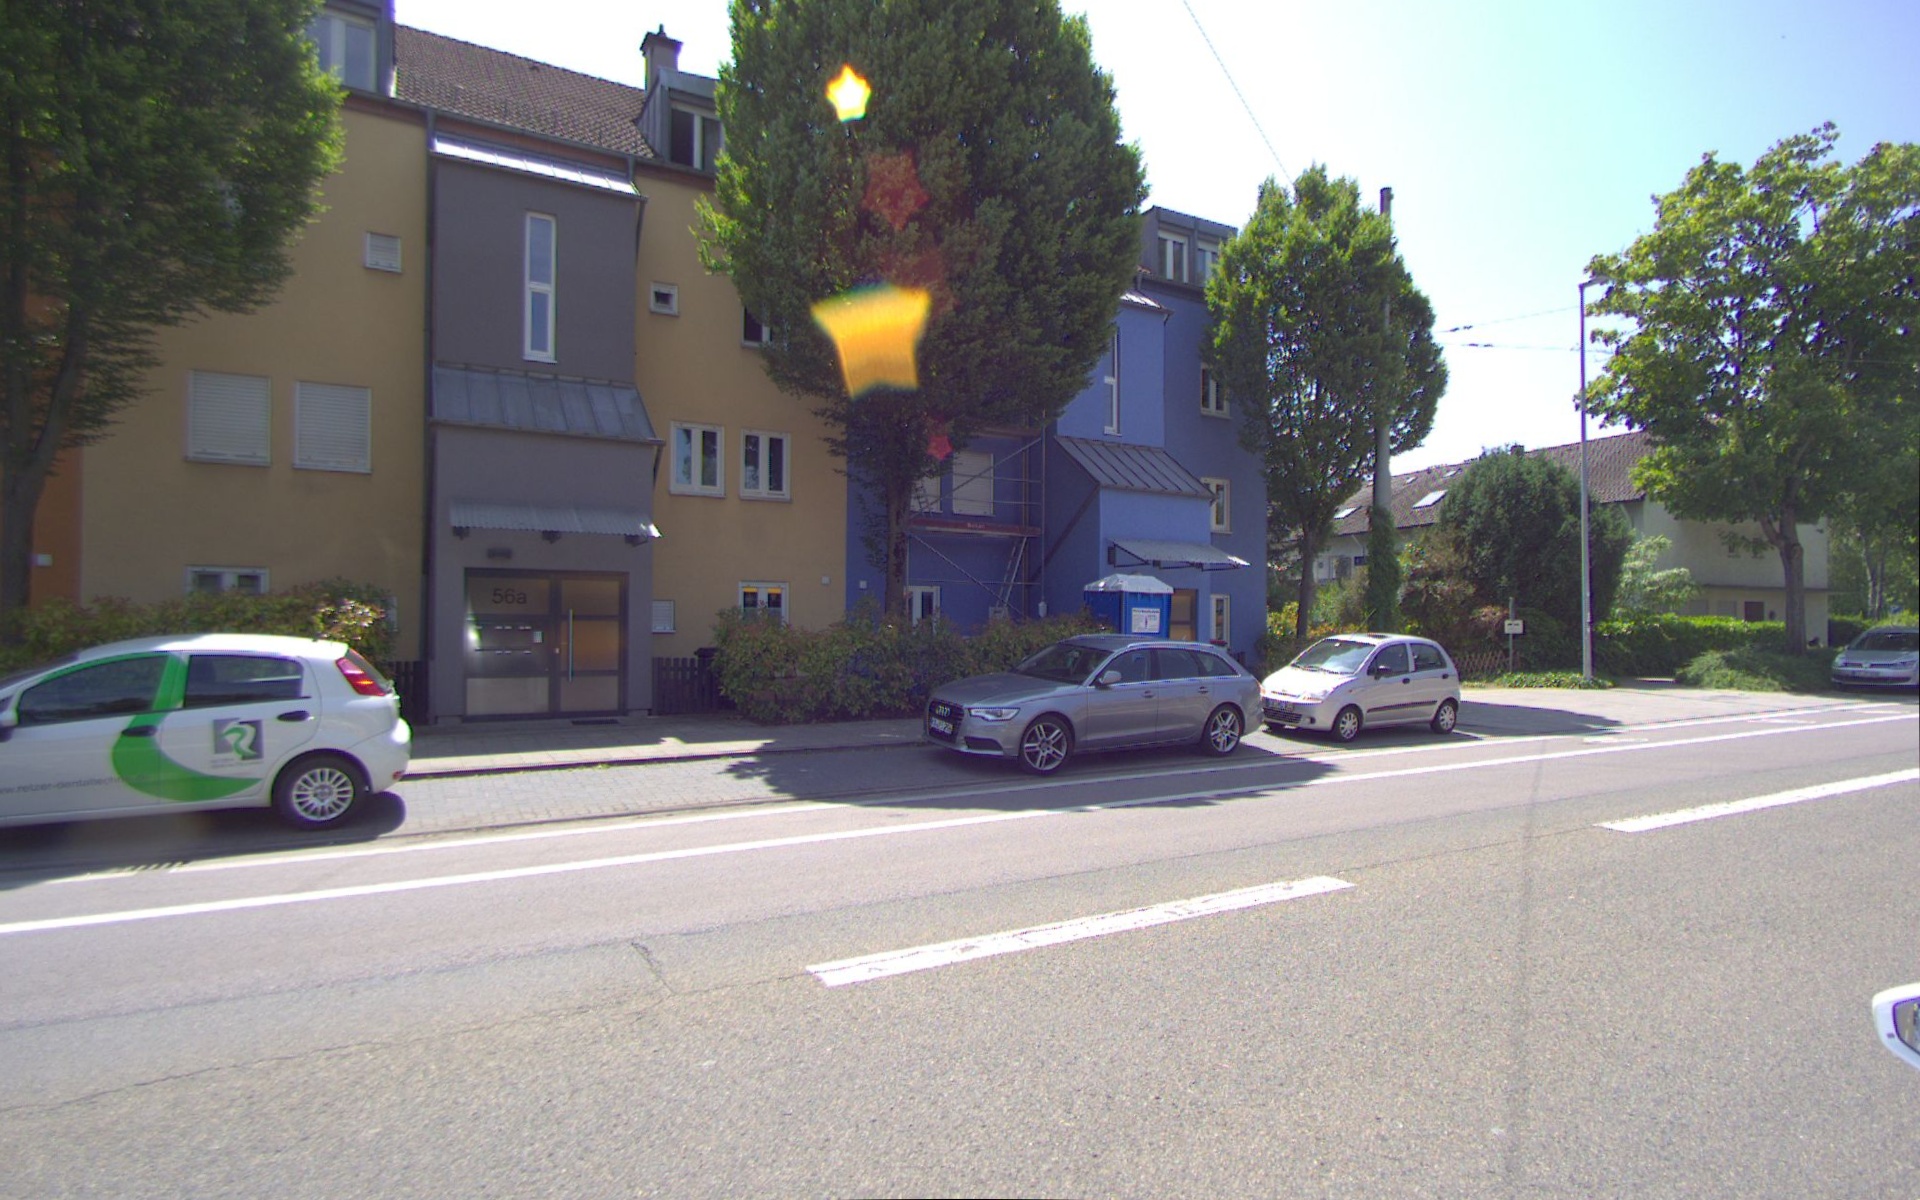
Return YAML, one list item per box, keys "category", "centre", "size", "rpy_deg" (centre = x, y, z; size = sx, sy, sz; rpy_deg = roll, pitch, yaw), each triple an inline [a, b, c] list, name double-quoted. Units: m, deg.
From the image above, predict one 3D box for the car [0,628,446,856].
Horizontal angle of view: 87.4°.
- category: "car"
  centre: [-6.654, 1.028, 8.107]
  size: [4.369, 1.462, 1.737]
  rpy_deg: [1, 3, -31]

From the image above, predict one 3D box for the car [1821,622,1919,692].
- category: "car"
  centre: [24.866, 1.439, 26.525]
  size: [4.725, 1.686, 1.863]
  rpy_deg: [1, -1, -31]

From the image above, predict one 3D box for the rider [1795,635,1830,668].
- category: "rider"
  centre: [36.137, 2.166, 42.586]
  size: [0.800, 1.392, 0.824]
  rpy_deg: [1, -2, -22]

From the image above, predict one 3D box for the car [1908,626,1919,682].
- category: "car"
  centre: [29.647, 1.586, 29.328]
  size: [4.133, 1.585, 1.809]
  rpy_deg: [1, 0, -31]

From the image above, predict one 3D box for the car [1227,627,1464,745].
- category: "car"
  centre: [5.989, 1.239, 15.548]
  size: [3.408, 1.516, 1.585]
  rpy_deg: [1, 3, -31]

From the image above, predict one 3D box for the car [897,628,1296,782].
- category: "car"
  centre: [1.858, 1.187, 12.855]
  size: [5.075, 1.470, 1.777]
  rpy_deg: [0, 3, -32]
